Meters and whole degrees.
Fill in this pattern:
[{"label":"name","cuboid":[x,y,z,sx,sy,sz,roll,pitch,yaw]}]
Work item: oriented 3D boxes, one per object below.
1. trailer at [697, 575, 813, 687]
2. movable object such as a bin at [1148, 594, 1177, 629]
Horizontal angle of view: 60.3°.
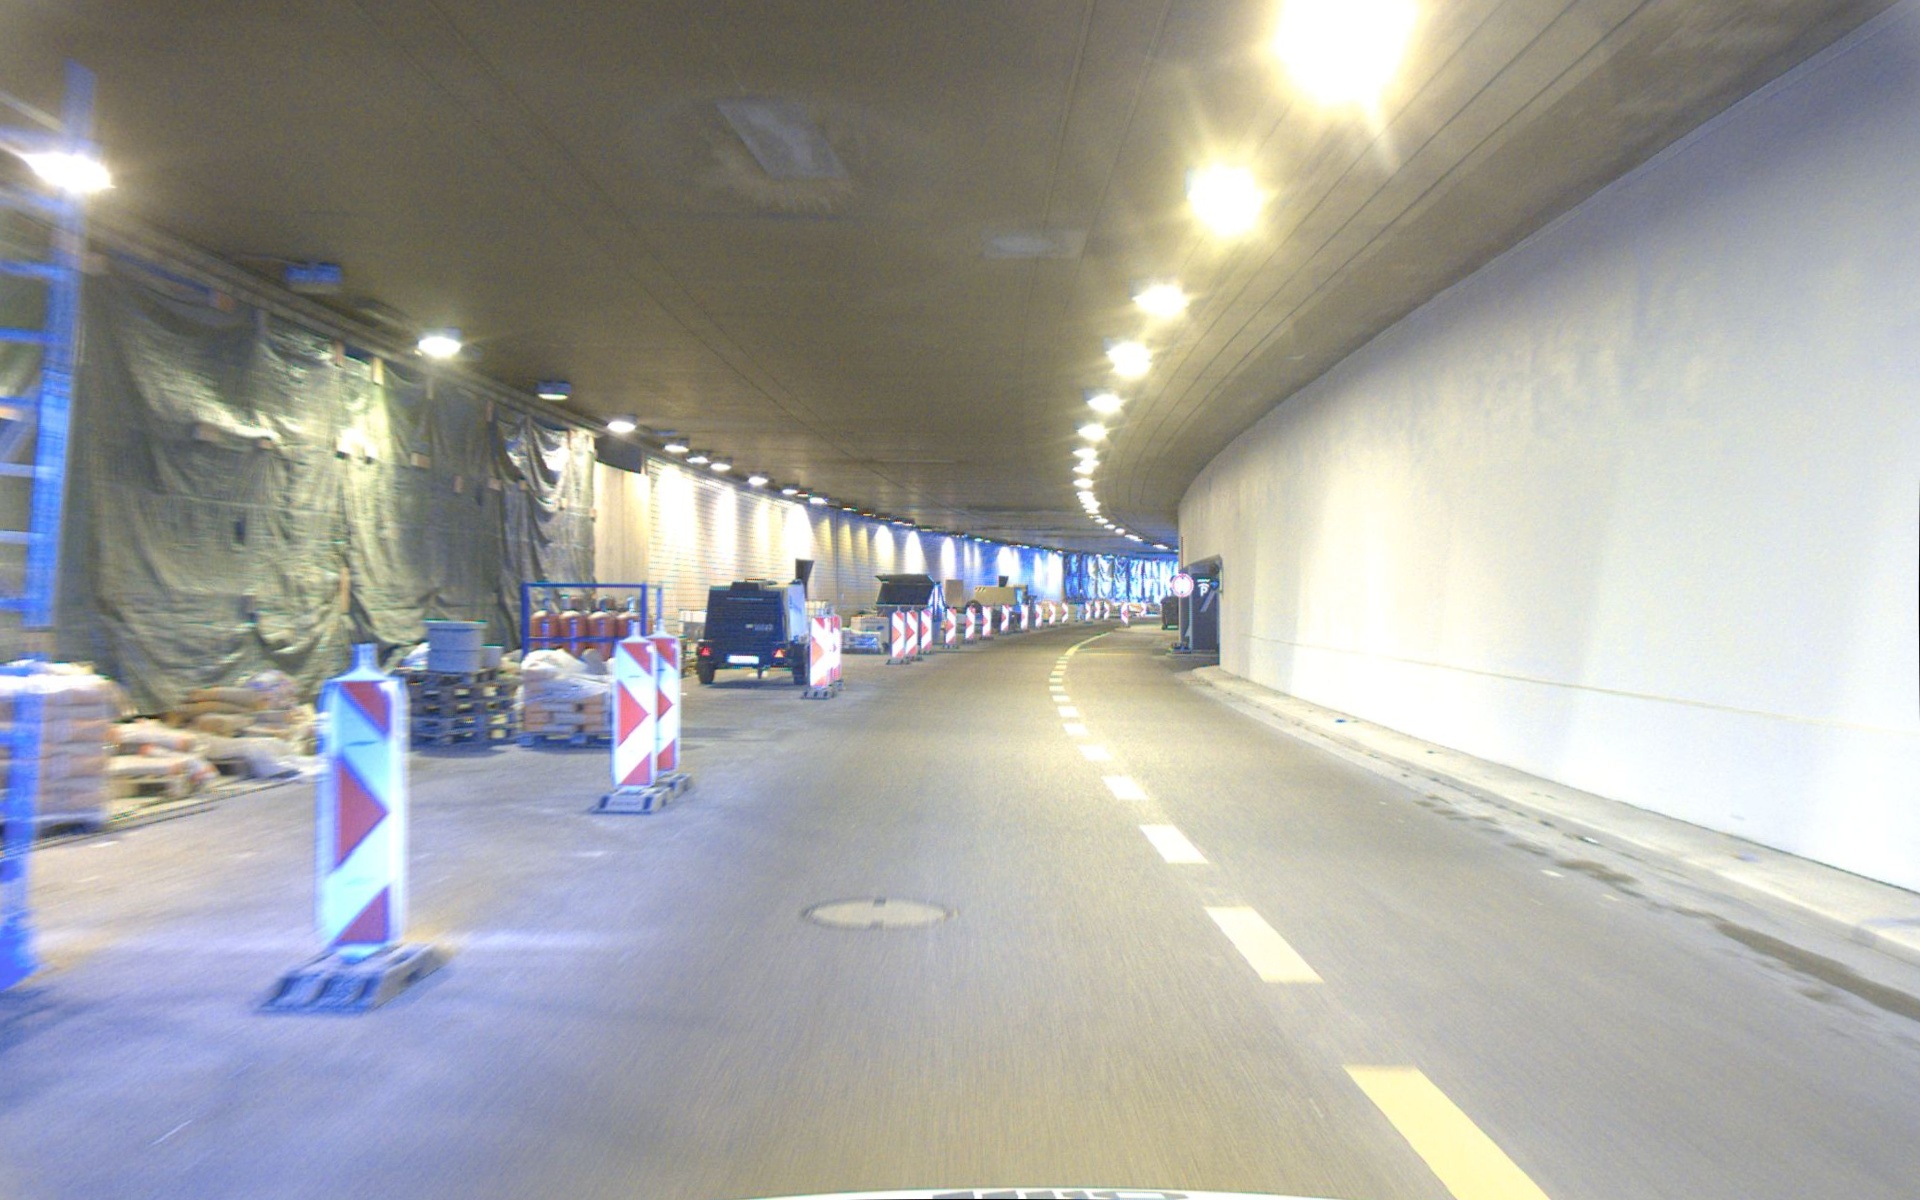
[{"label":"trailer","cuboid":[-3.496,0.518,28.637,1.548,1.829,2.940,1,0,1]},{"label":"movable object such as a bin","cuboid":[8.951,0.493,73.065,1.169,1.486,1.606,-2,0,9]}]
